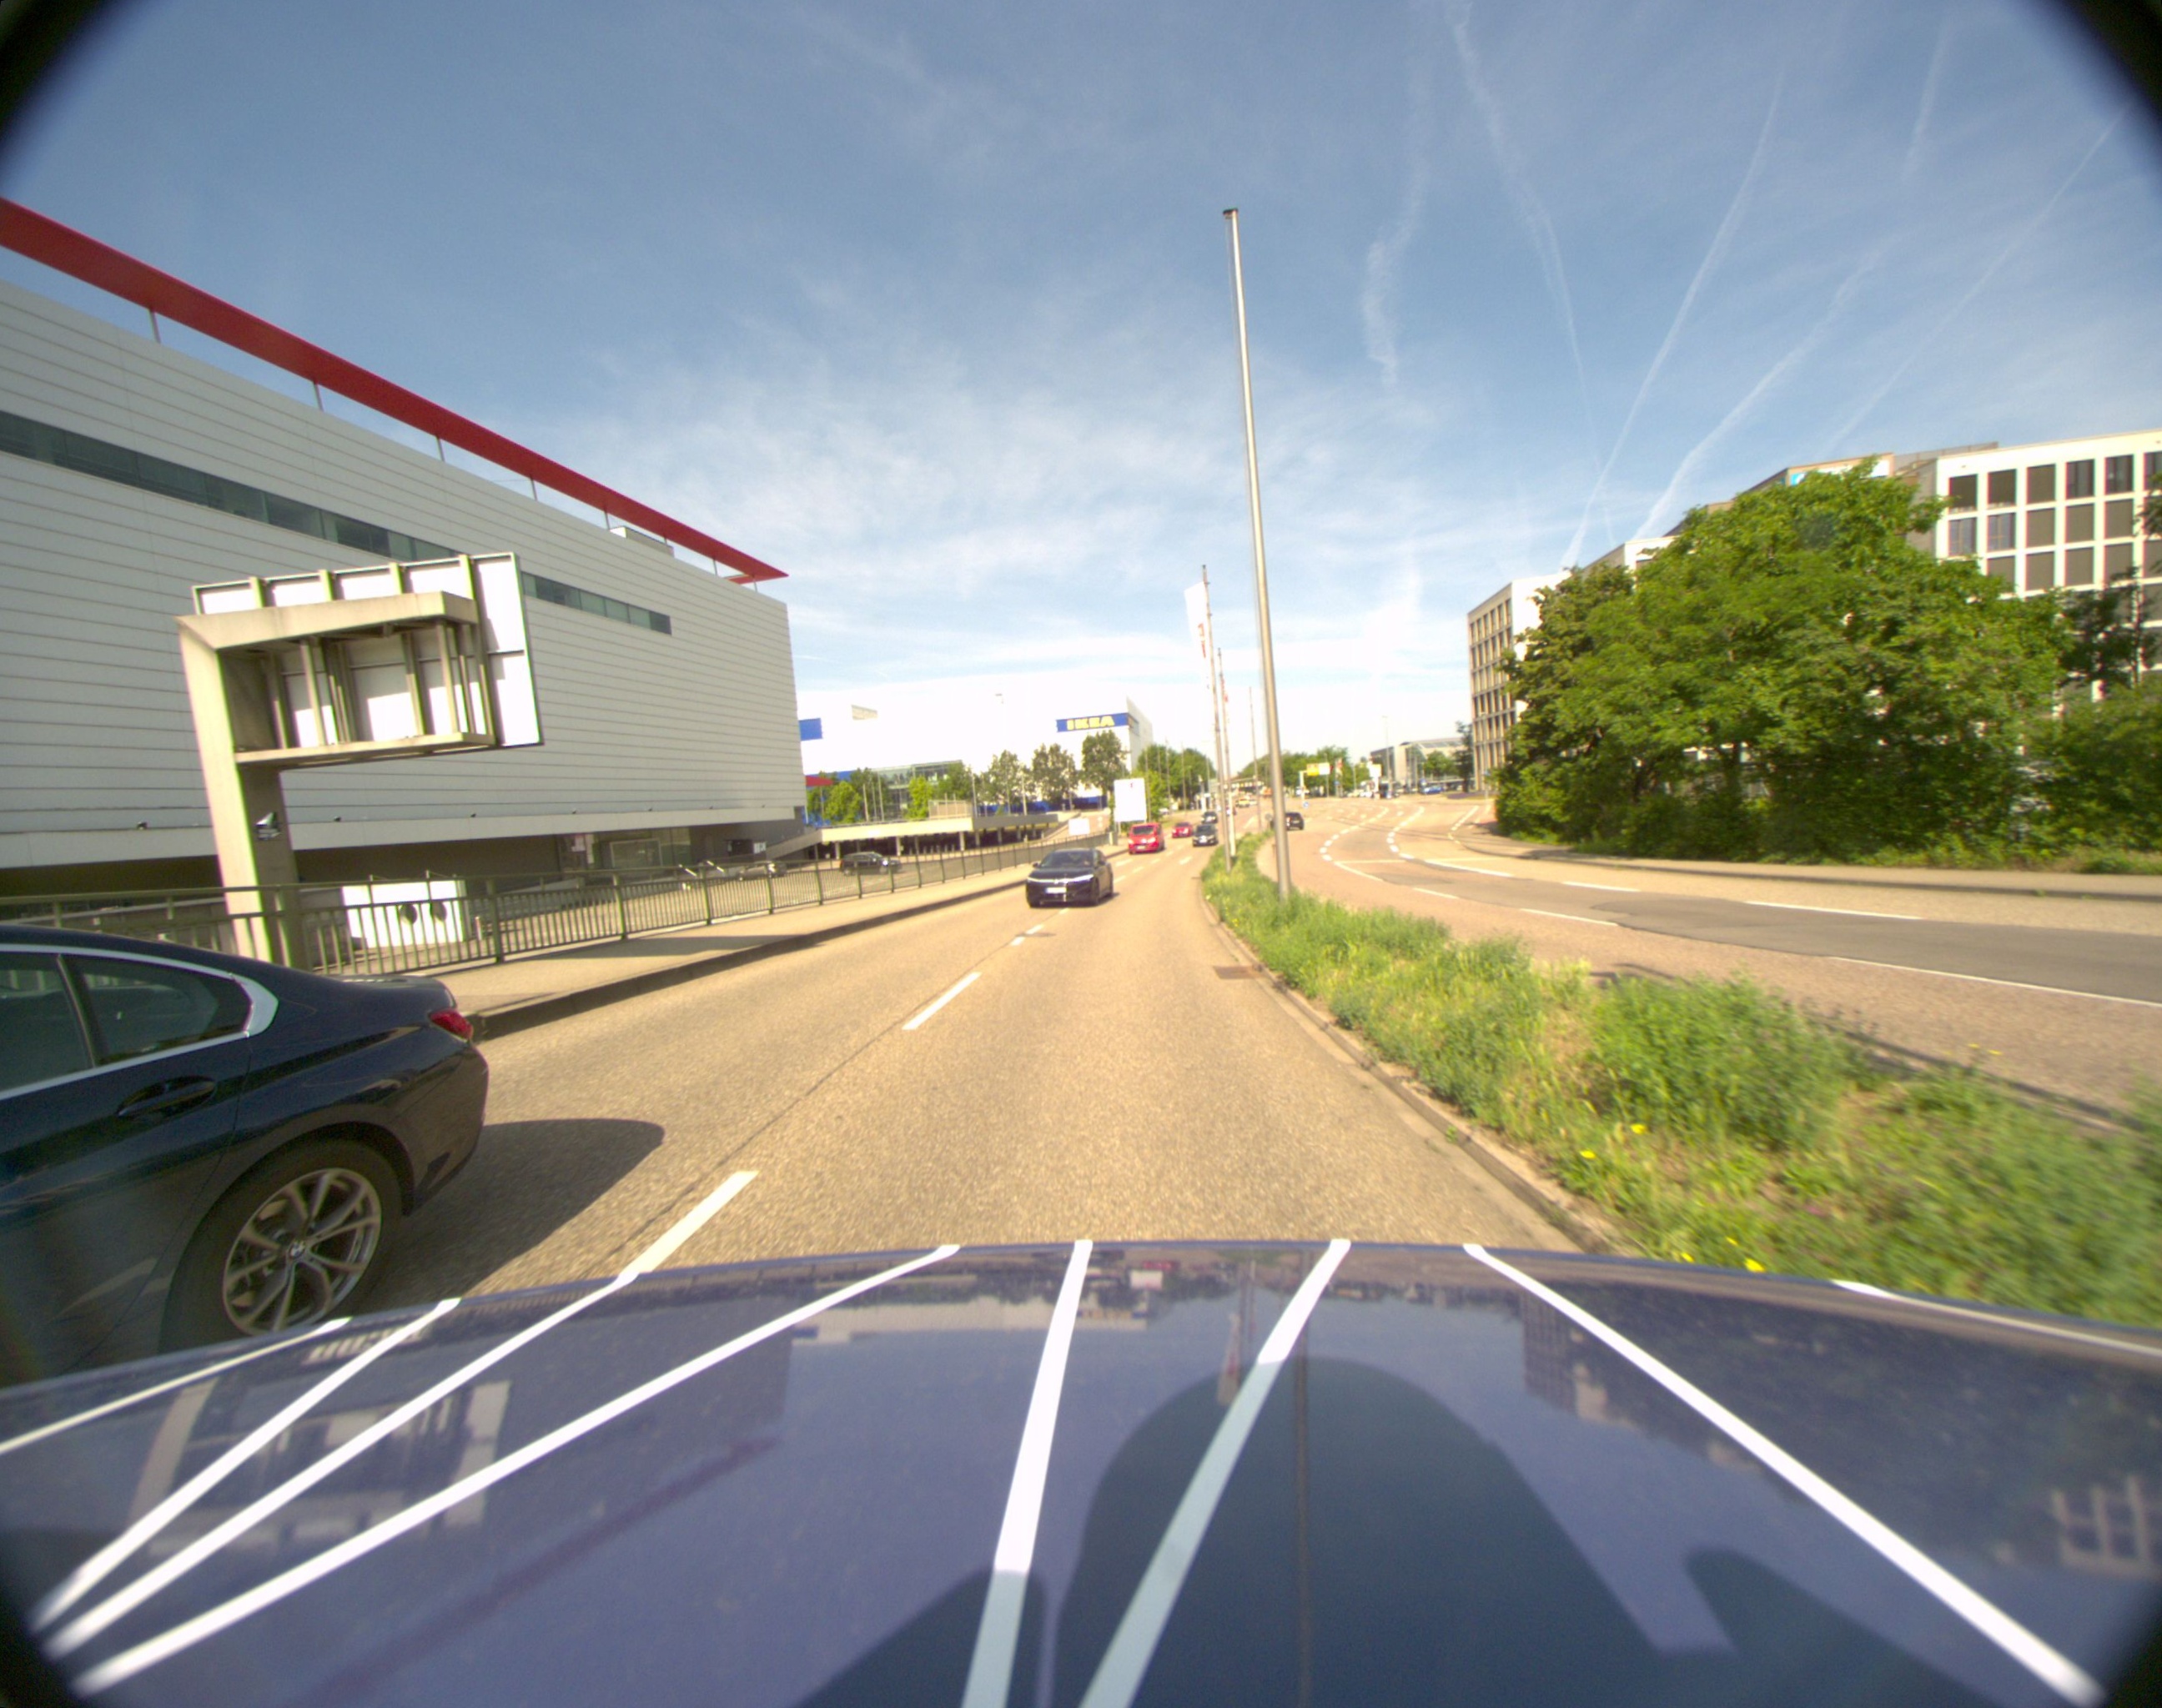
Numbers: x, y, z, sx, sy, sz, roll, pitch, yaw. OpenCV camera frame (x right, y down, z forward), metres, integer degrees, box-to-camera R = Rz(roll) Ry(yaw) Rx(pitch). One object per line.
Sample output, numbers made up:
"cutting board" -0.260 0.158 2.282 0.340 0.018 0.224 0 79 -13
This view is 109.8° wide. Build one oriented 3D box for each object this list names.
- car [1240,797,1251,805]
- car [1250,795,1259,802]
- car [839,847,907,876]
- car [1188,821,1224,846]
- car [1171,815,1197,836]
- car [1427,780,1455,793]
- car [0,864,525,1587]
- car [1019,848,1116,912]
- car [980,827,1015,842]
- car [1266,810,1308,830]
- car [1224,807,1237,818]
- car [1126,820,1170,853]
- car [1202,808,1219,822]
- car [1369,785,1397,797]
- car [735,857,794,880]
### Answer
"car" 31.959 -10.259 147.555 1.824 1.467 4.000 -3 4 13
"car" 39.384 -12.535 172.248 1.824 1.467 4.000 -3 4 13
"car" -15.338 0.547 55.950 4.408 1.723 1.863 -4 4 22
"car" 9.038 -1.498 54.679 1.847 1.411 4.002 -2 5 18
"car" 9.641 -2.651 70.835 1.775 1.650 4.145 -3 4 15
"car" 65.285 -12.247 137.868 4.387 1.838 1.813 -3 4 17
"car" -3.344 1.003 0.929 1.792 1.476 4.516 -5 4 1
"car" -0.264 0.666 21.533 1.859 1.520 4.146 -2 1 11
"car" -11.570 -2.722 105.108 4.313 1.824 2.000 -4 2 6
"car" 17.883 -2.975 66.178 1.862 1.521 4.138 -4 4 -9
"car" 23.043 -6.323 116.760 1.824 1.467 4.000 -3 4 13
"car" 4.596 -1.242 51.590 1.986 1.897 4.146 -3 4 18
"car" 16.301 -4.872 95.264 1.824 1.467 4.000 -3 4 13
"car" 53.937 -11.288 135.730 4.384 1.838 1.814 -2 5 30
"car" -25.168 1.128 60.498 3.863 1.368 1.811 -5 3 12
